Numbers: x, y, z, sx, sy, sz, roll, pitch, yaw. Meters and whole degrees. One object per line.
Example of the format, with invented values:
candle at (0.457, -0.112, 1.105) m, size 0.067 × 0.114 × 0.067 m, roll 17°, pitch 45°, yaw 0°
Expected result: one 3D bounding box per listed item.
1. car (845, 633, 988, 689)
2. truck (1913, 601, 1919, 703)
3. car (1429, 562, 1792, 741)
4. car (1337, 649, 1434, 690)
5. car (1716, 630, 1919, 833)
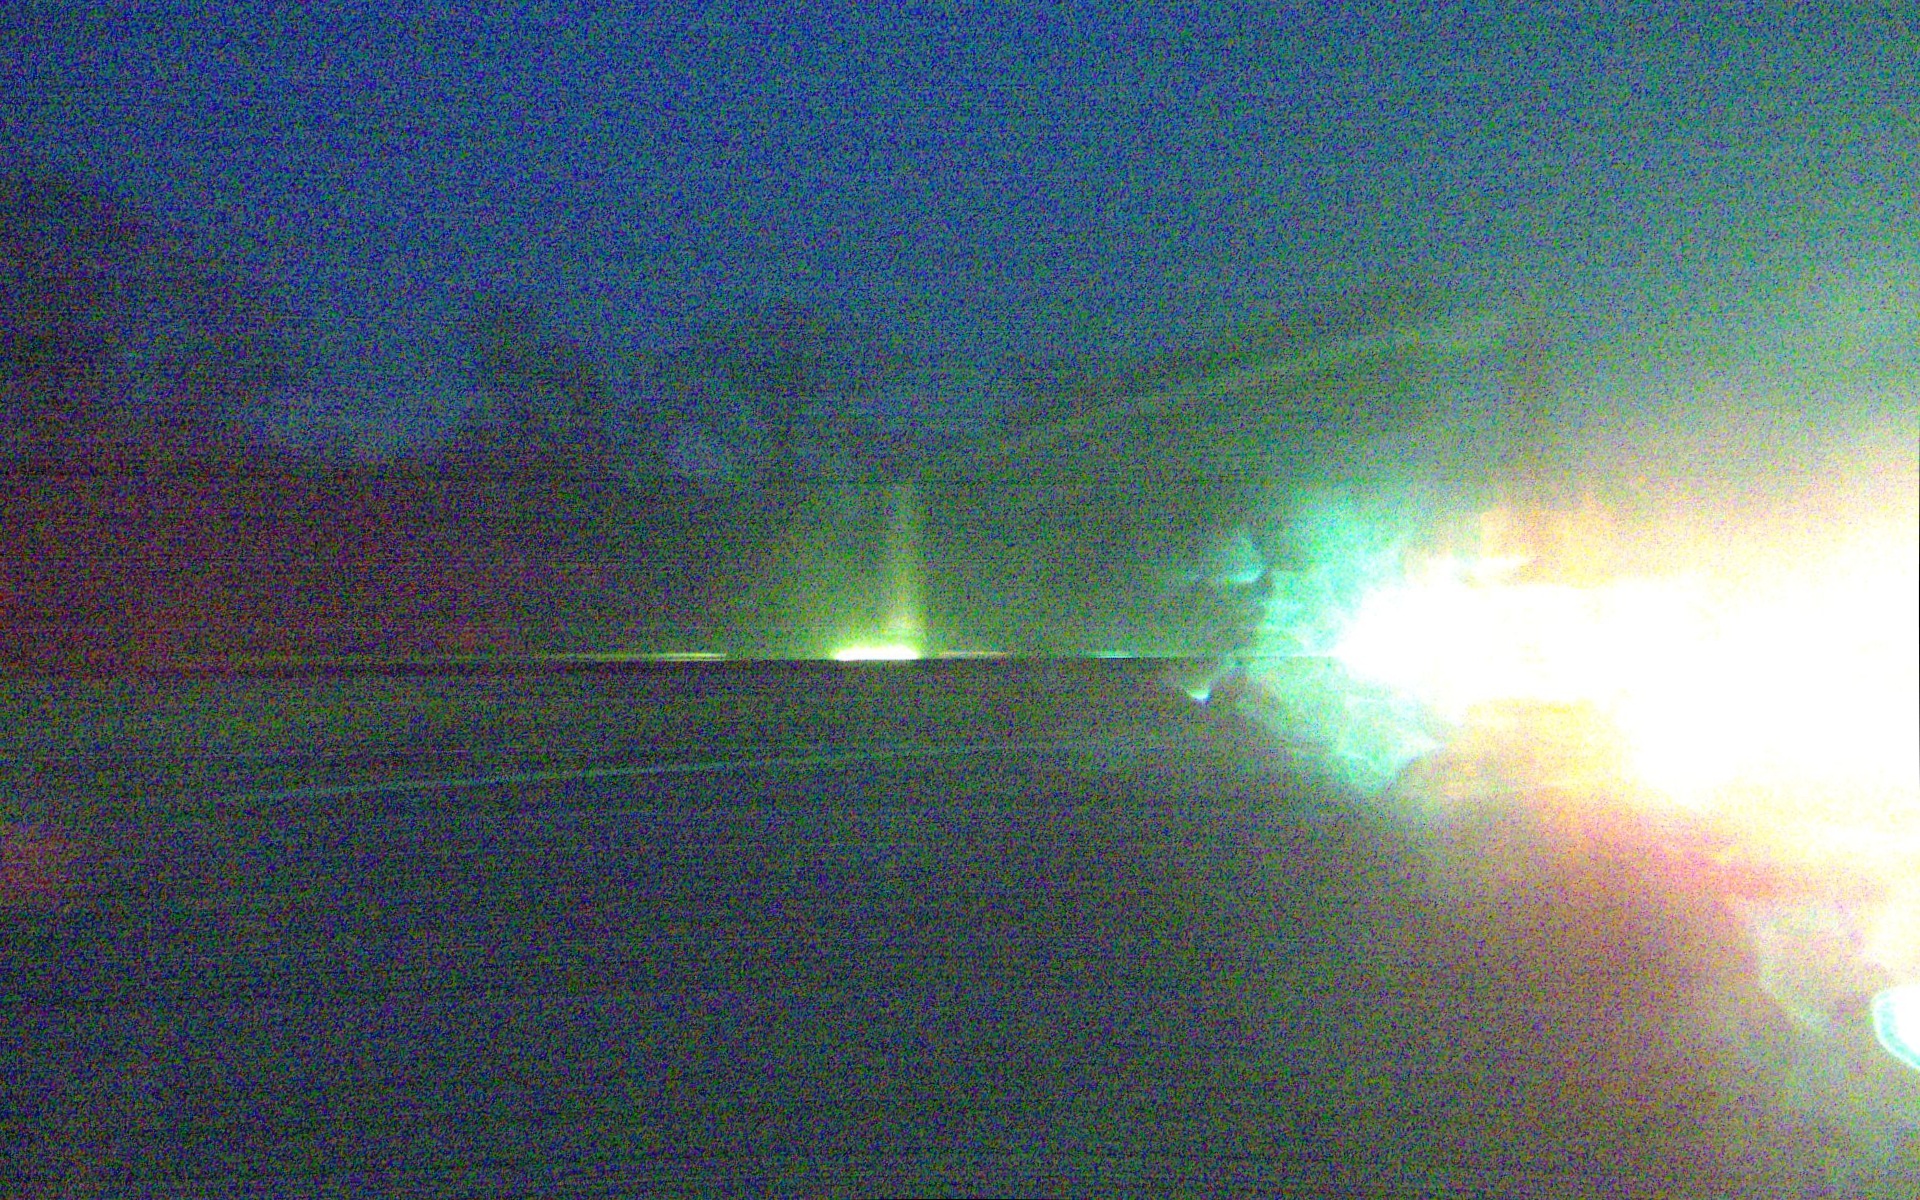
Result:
car at (-1.289, 1.813, 30.252) m, size 3.954 × 1.533 × 1.648 m, roll 2°, pitch 0°, yaw -31°
truck at (24.078, 1.245, 22.390) m, size 5.796 × 2.230 × 2.840 m, roll 2°, pitch 0°, yaw -33°
car at (9.376, 0.684, 14.331) m, size 5.564 × 2.132 × 2.112 m, roll 2°, pitch -1°, yaw -31°
car at (18.089, 2.936, 42.670) m, size 3.954 × 1.593 × 1.791 m, roll 2°, pitch 0°, yaw -31°
car at (8.509, 1.013, 8.906) m, size 4.203 × 1.450 × 1.646 m, roll 1°, pitch 0°, yaw -35°
